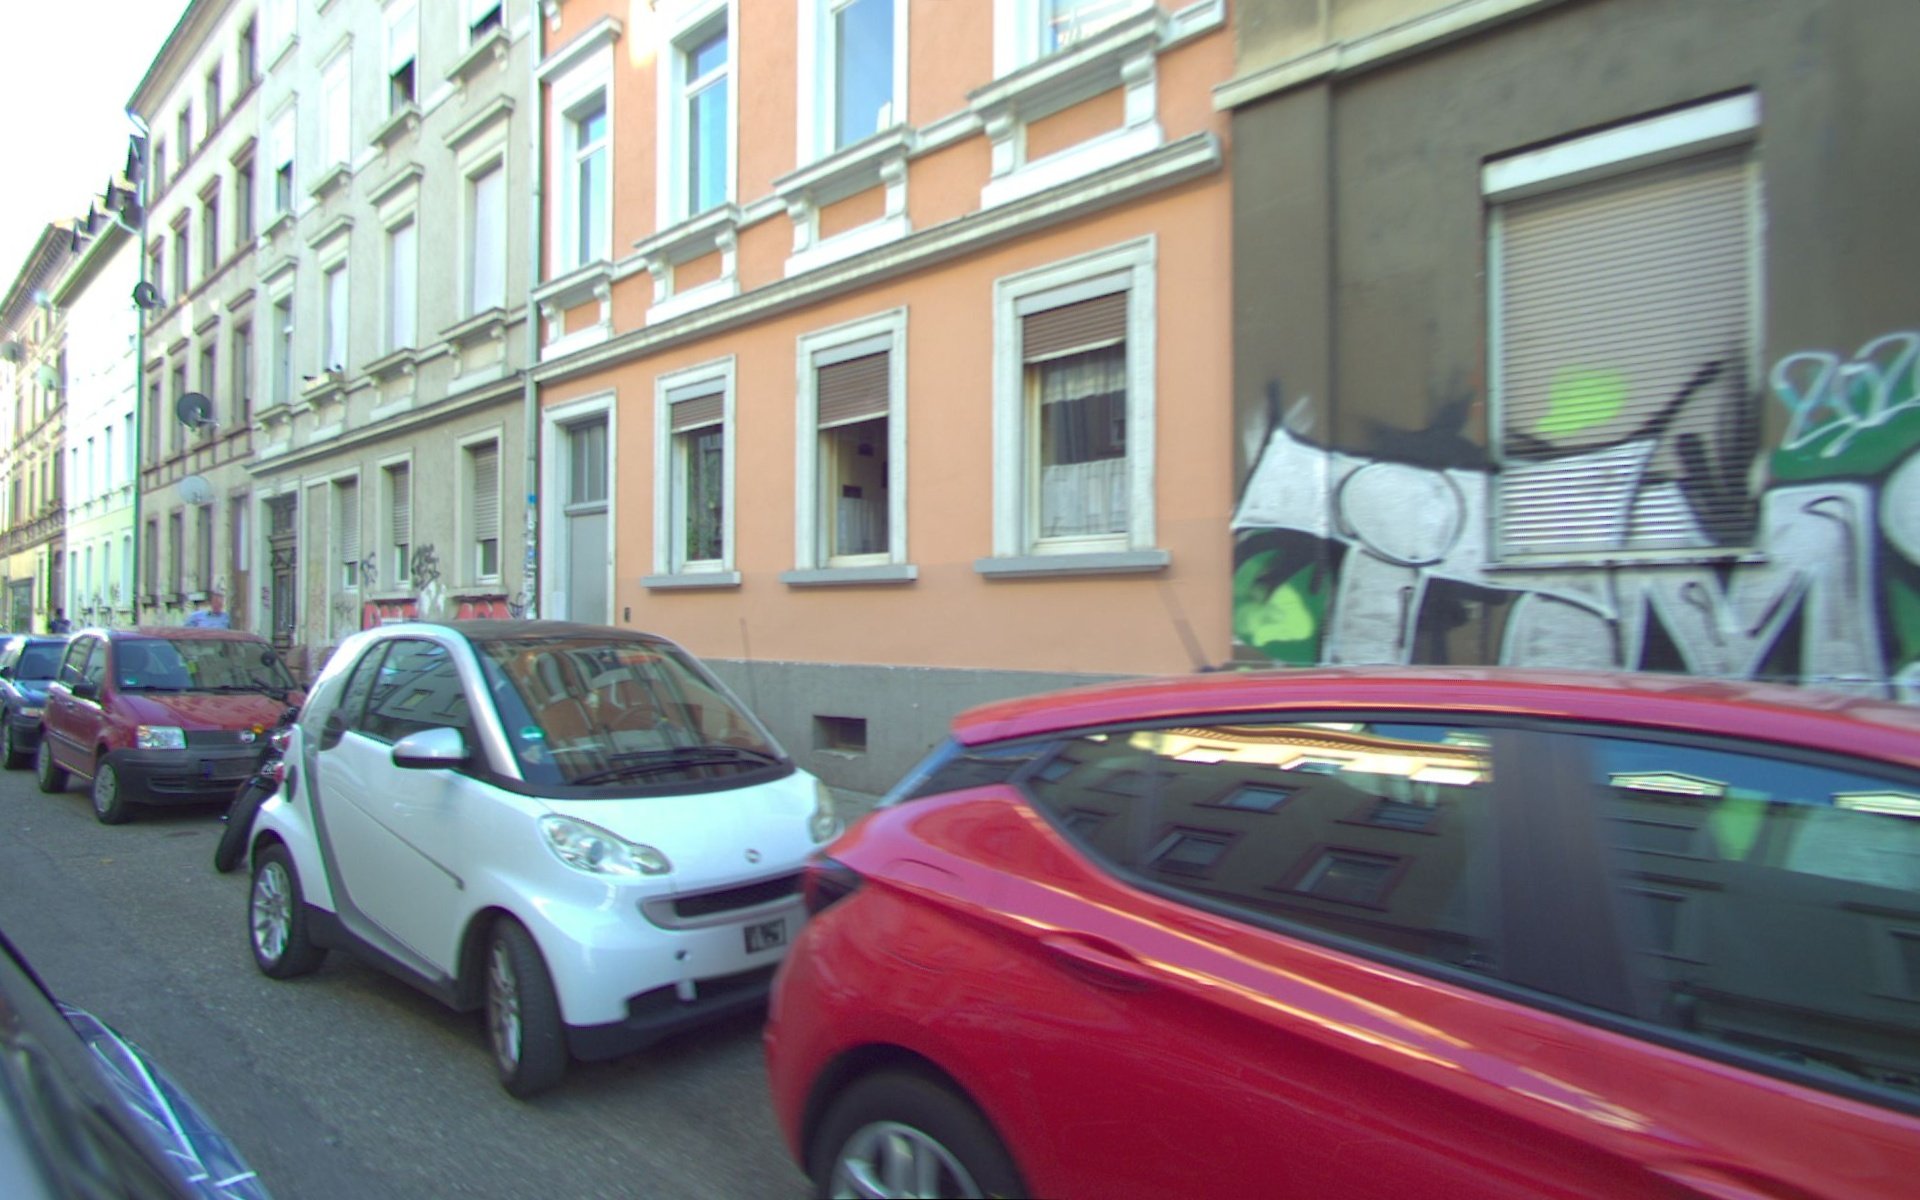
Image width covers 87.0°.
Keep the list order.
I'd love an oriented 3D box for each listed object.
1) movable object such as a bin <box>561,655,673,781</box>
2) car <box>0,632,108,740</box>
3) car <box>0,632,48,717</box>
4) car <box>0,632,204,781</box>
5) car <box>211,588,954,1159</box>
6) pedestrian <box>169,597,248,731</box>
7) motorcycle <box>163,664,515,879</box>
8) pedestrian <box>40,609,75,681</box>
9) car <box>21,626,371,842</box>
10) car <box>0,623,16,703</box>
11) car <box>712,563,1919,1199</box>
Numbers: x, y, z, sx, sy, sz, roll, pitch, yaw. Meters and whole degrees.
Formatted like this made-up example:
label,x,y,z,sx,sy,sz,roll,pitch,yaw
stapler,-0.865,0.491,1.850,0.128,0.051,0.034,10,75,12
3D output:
label,x,y,z,sx,sy,sz,roll,pitch,yaw
movable object such as a bin,-3.206,1.073,9.466,0.768,1.057,0.663,-2,0,-41
car,-14.333,1.233,15.477,1.660,1.474,3.862,1,-2,-45
car,-18.357,1.341,18.776,3.858,1.474,1.661,-2,-2,41
car,-10.641,1.120,12.125,4.310,1.474,1.661,-2,-2,41
car,-1.696,0.807,4.359,2.955,1.561,1.663,-1,-3,37
pedestrian,-10.724,0.882,14.450,0.594,1.844,0.780,-2,-1,41
motorcycle,-4.185,1.078,7.056,0.784,1.137,2.068,-1,0,19
pedestrian,-23.608,1.176,26.475,0.594,1.844,0.618,-2,-1,42
car,-6.788,0.987,8.879,3.609,1.504,1.662,-2,-2,40
car,-22.108,1.364,22.182,3.858,1.696,1.661,-2,-2,41
car,1.612,0.746,1.501,4.199,1.485,1.662,-1,-4,40
